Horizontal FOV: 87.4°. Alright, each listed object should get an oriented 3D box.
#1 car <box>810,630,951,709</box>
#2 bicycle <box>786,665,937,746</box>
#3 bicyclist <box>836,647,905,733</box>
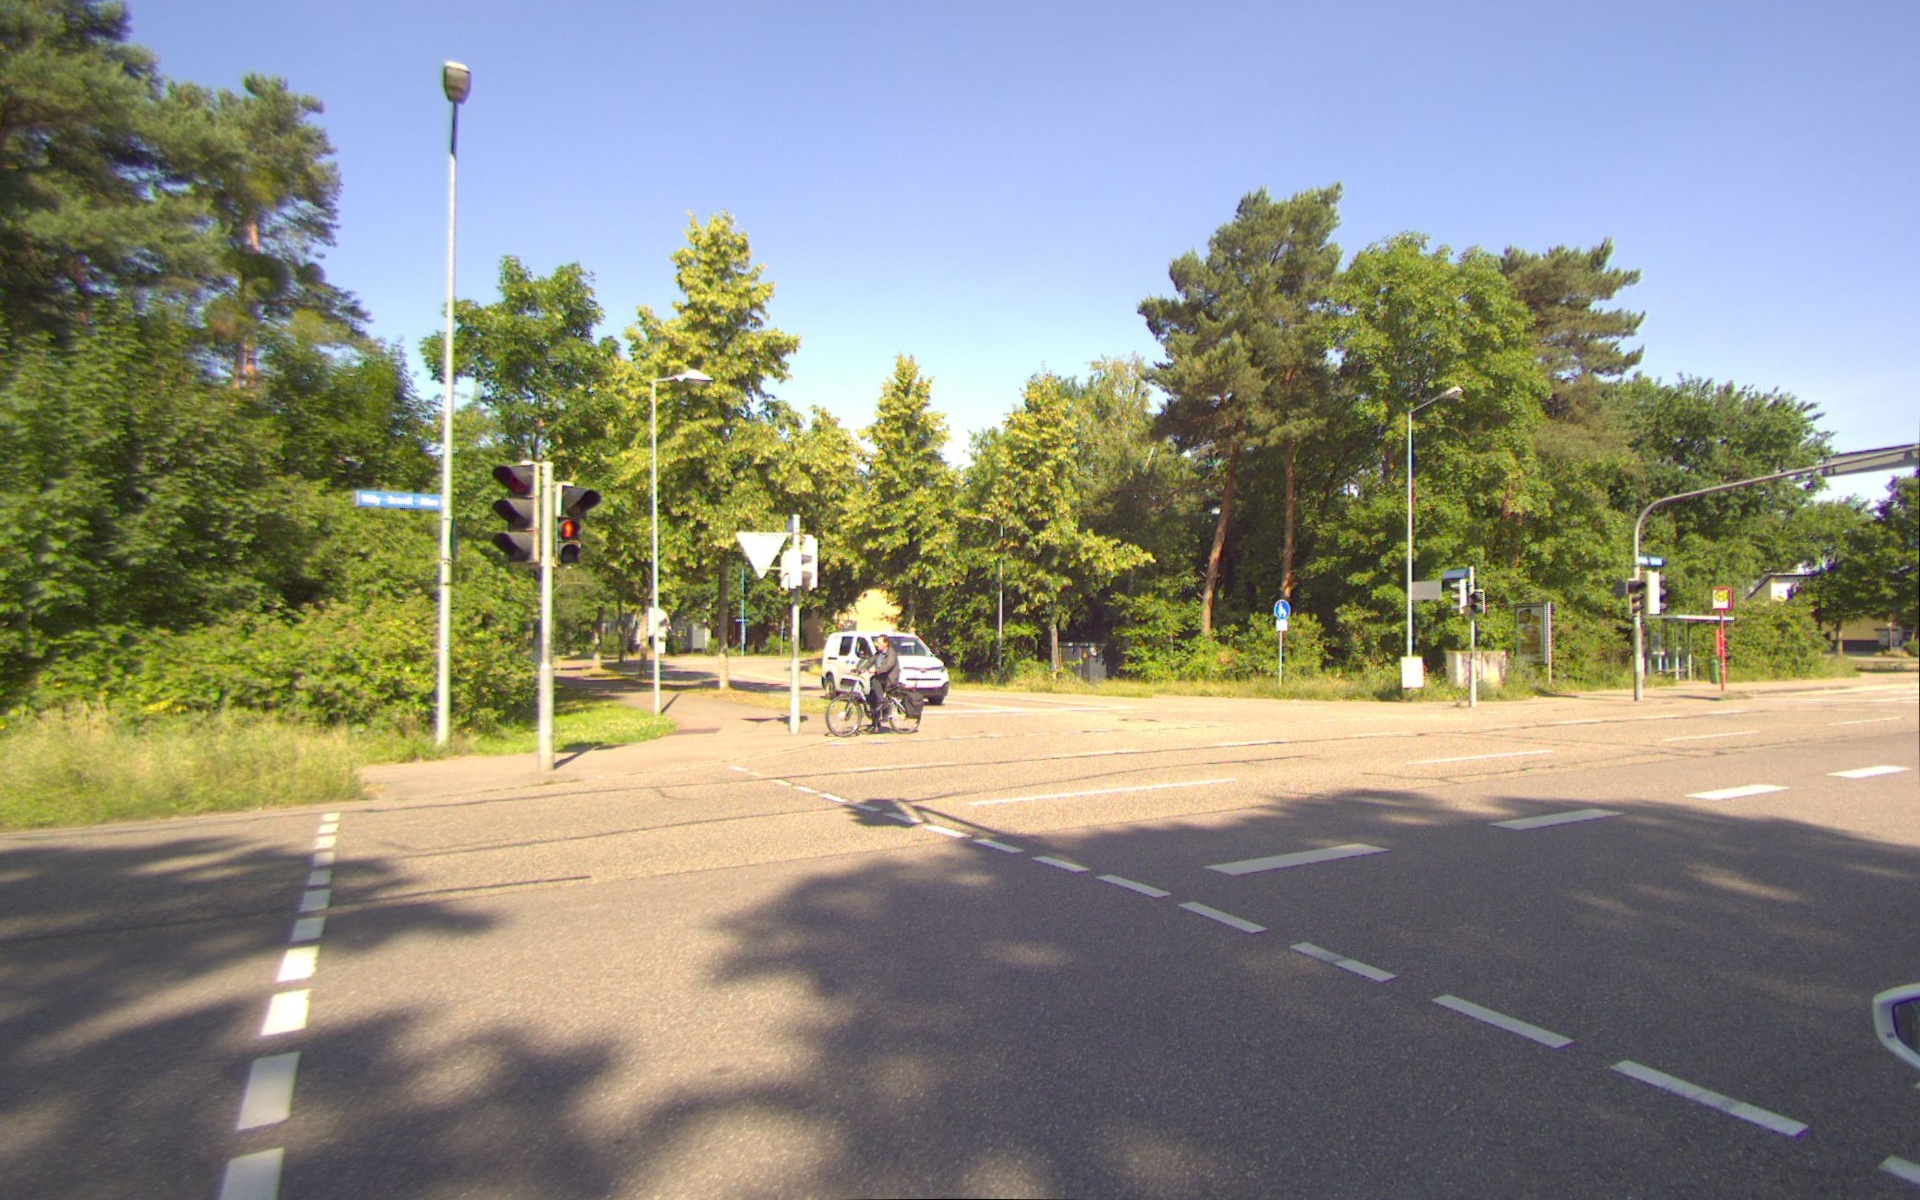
[{"bbox_3d":[-2.122,1.736,25.497,1.830,1.801,4.627,2,-4,-29],"label":"car"},{"bbox_3d":[-1.553,1.650,16.124,2.346,1.178,0.729,1,-2,-32],"label":"bicycle"},{"bbox_3d":[-1.443,1.420,16.191,0.874,1.328,0.717,1,-2,-32],"label":"bicyclist"}]
